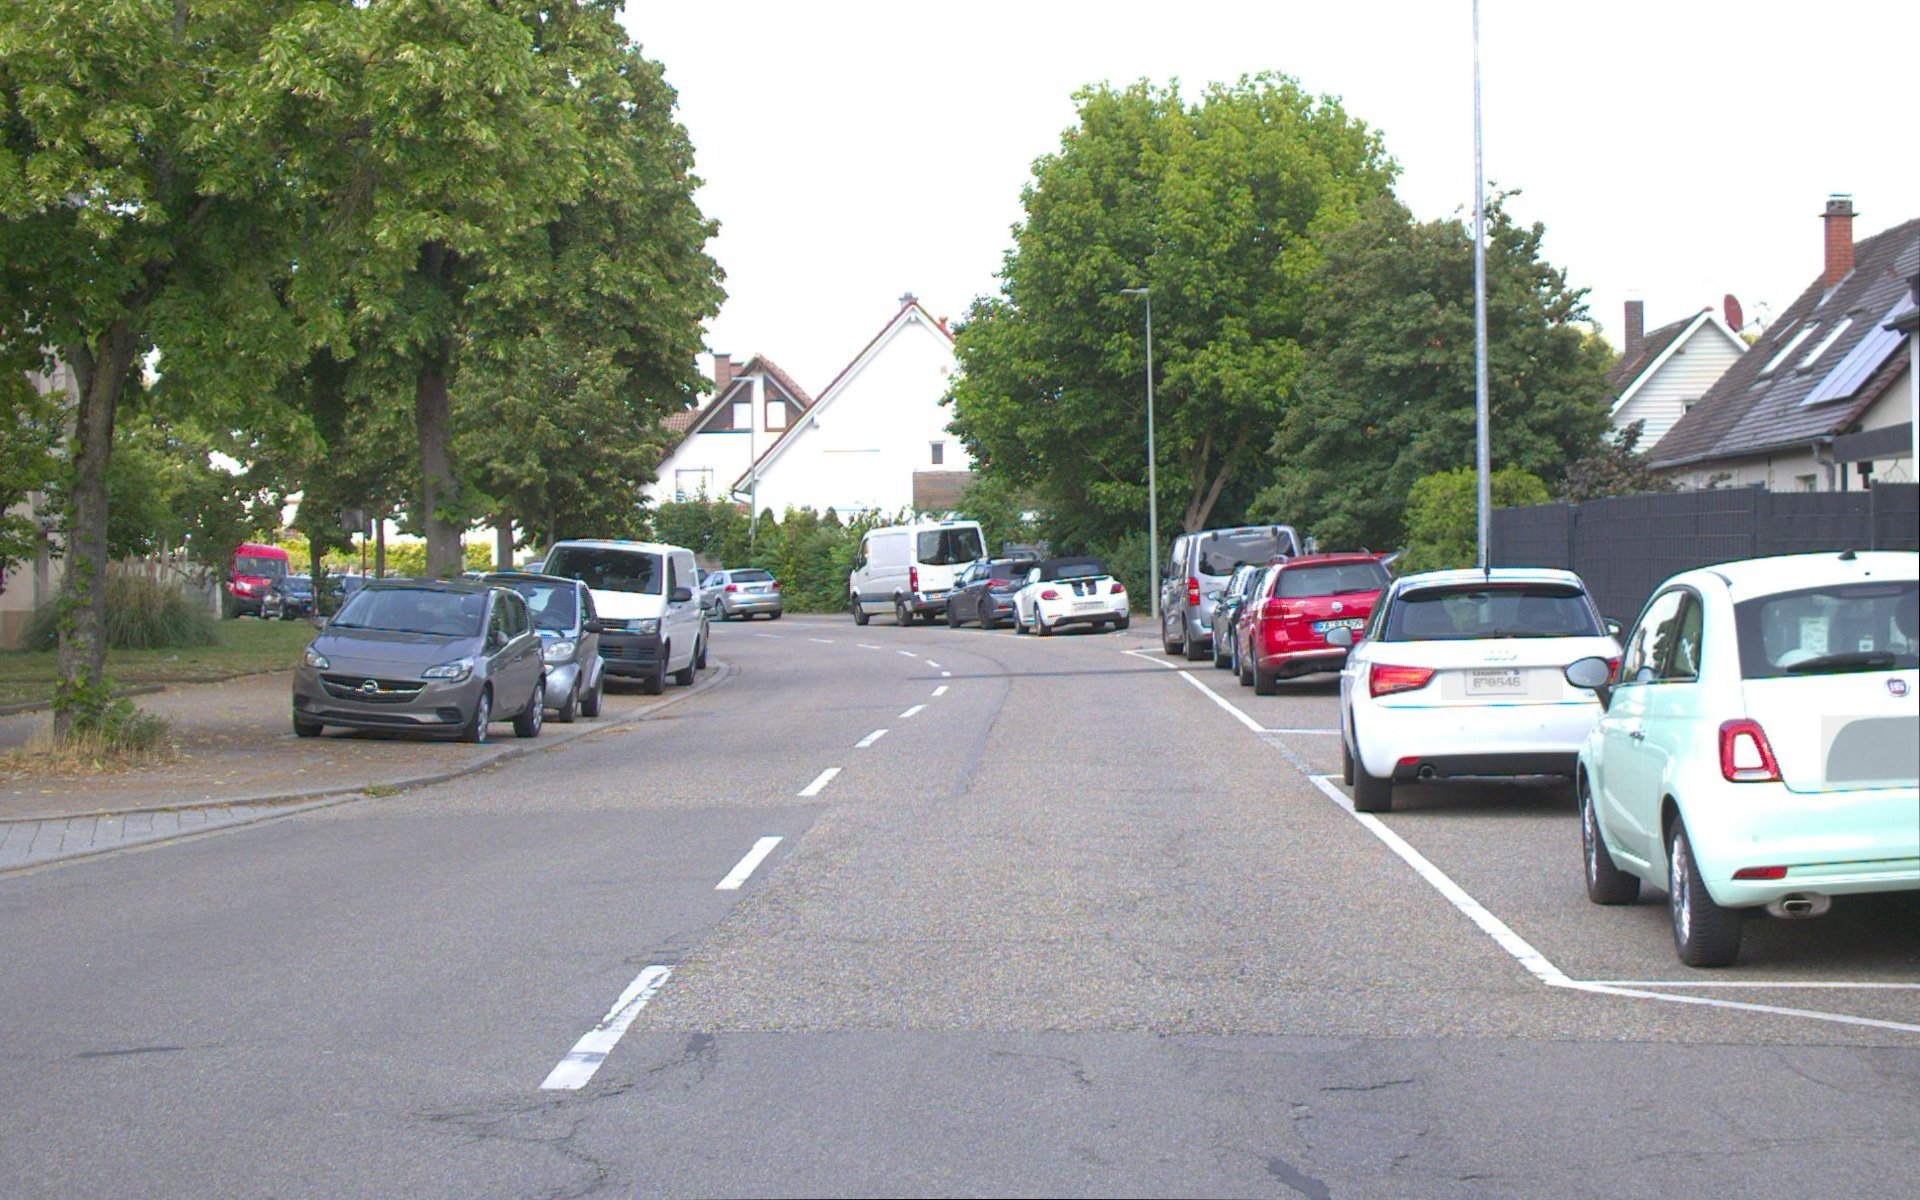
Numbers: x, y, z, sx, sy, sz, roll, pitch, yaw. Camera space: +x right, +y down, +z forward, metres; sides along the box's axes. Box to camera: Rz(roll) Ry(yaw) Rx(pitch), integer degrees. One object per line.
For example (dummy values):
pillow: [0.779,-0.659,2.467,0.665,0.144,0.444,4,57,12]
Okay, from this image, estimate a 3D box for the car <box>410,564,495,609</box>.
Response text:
car: [-17.931,-0.496,121.353,1.794,1.518,3.974,-2,1,-26]

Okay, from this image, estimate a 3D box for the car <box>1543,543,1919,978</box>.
car: [3.466,0.544,14.136,1.581,1.515,3.755,-1,1,2]

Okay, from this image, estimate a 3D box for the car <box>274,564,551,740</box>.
car: [-4.968,0.463,31.685,1.684,1.481,3.983,1,0,3]

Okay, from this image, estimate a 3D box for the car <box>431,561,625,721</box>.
car: [-4.715,0.405,37.937,1.517,1.544,3.755,4,1,1]

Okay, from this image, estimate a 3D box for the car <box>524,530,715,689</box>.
car: [-4.496,0.062,46.165,1.879,2.002,5.322,0,1,2]

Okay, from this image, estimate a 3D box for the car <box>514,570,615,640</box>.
car: [-8.445,0.092,73.125,1.836,1.434,4.092,1,0,-11]

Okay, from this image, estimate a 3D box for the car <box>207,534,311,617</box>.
car: [-22.476,-0.789,110.008,2.063,2.492,5.842,3,-1,-23]

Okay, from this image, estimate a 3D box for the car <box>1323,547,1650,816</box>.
car: [3.177,0.437,21.339,1.721,1.481,3.748,-1,1,5]

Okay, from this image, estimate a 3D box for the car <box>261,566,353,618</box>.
car: [-19.781,-0.222,103.987,1.786,1.452,4.436,3,-1,-23]

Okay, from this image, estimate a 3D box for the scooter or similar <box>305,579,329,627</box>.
scooter or similar: [-15.886,0.064,84.934,0.419,1.161,1.141,0,1,-20]

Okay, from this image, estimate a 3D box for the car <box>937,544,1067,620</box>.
car: [0.881,-0.404,75.303,1.717,1.580,4.125,-2,1,-16]

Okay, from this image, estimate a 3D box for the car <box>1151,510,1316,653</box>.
car: [4.062,-0.307,51.835,1.842,1.938,4.876,-4,1,-2]

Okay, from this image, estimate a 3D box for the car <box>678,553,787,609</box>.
car: [-6.352,-0.531,95.608,1.737,1.452,4.366,-2,1,-21]

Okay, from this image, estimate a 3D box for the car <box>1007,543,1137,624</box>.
car: [2.189,-0.345,68.508,1.739,1.507,4.460,-2,1,-9]

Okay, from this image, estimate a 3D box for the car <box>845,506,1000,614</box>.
car: [-0.936,-0.940,81.286,2.117,2.432,5.896,-2,1,-16]

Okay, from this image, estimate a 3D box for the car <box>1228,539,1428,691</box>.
car: [4.094,0.122,38.900,1.850,1.574,4.732,-1,1,2]
